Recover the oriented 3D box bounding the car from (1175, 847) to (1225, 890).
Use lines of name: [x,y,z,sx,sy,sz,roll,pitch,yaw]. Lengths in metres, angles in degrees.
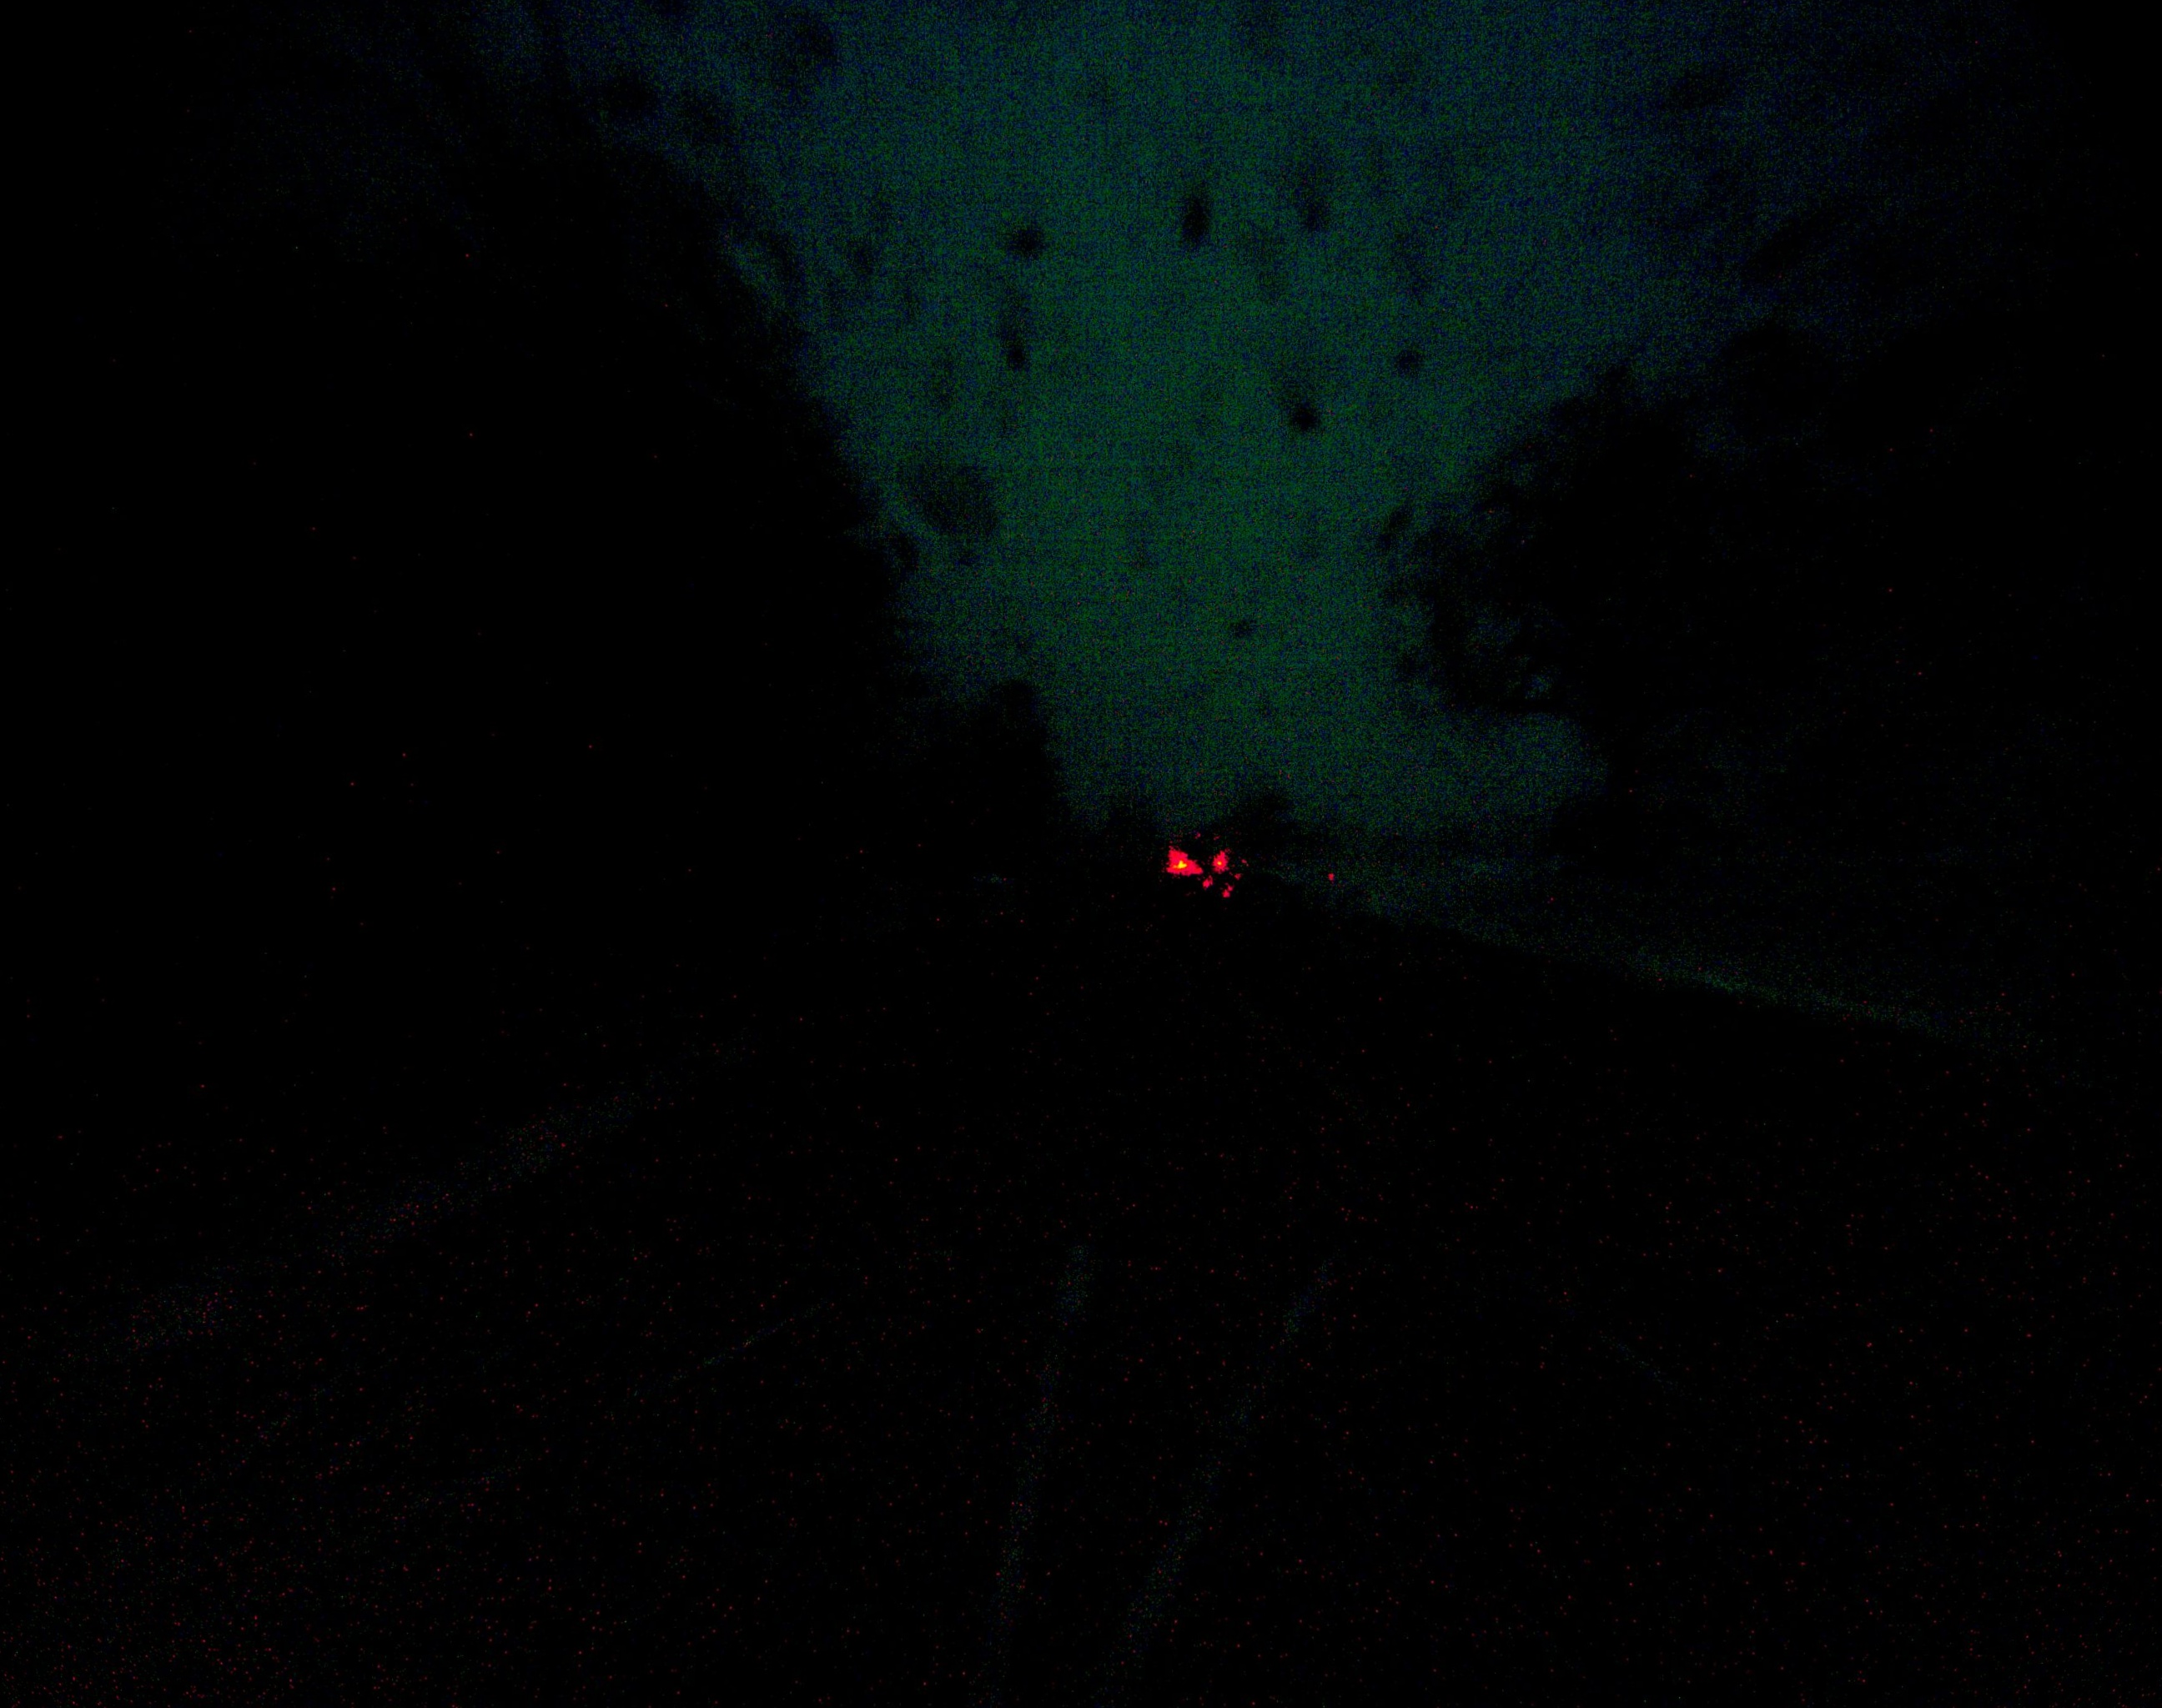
car: [5.135,0.584,33.230,1.756,1.683,4.427,-2,0,4]
